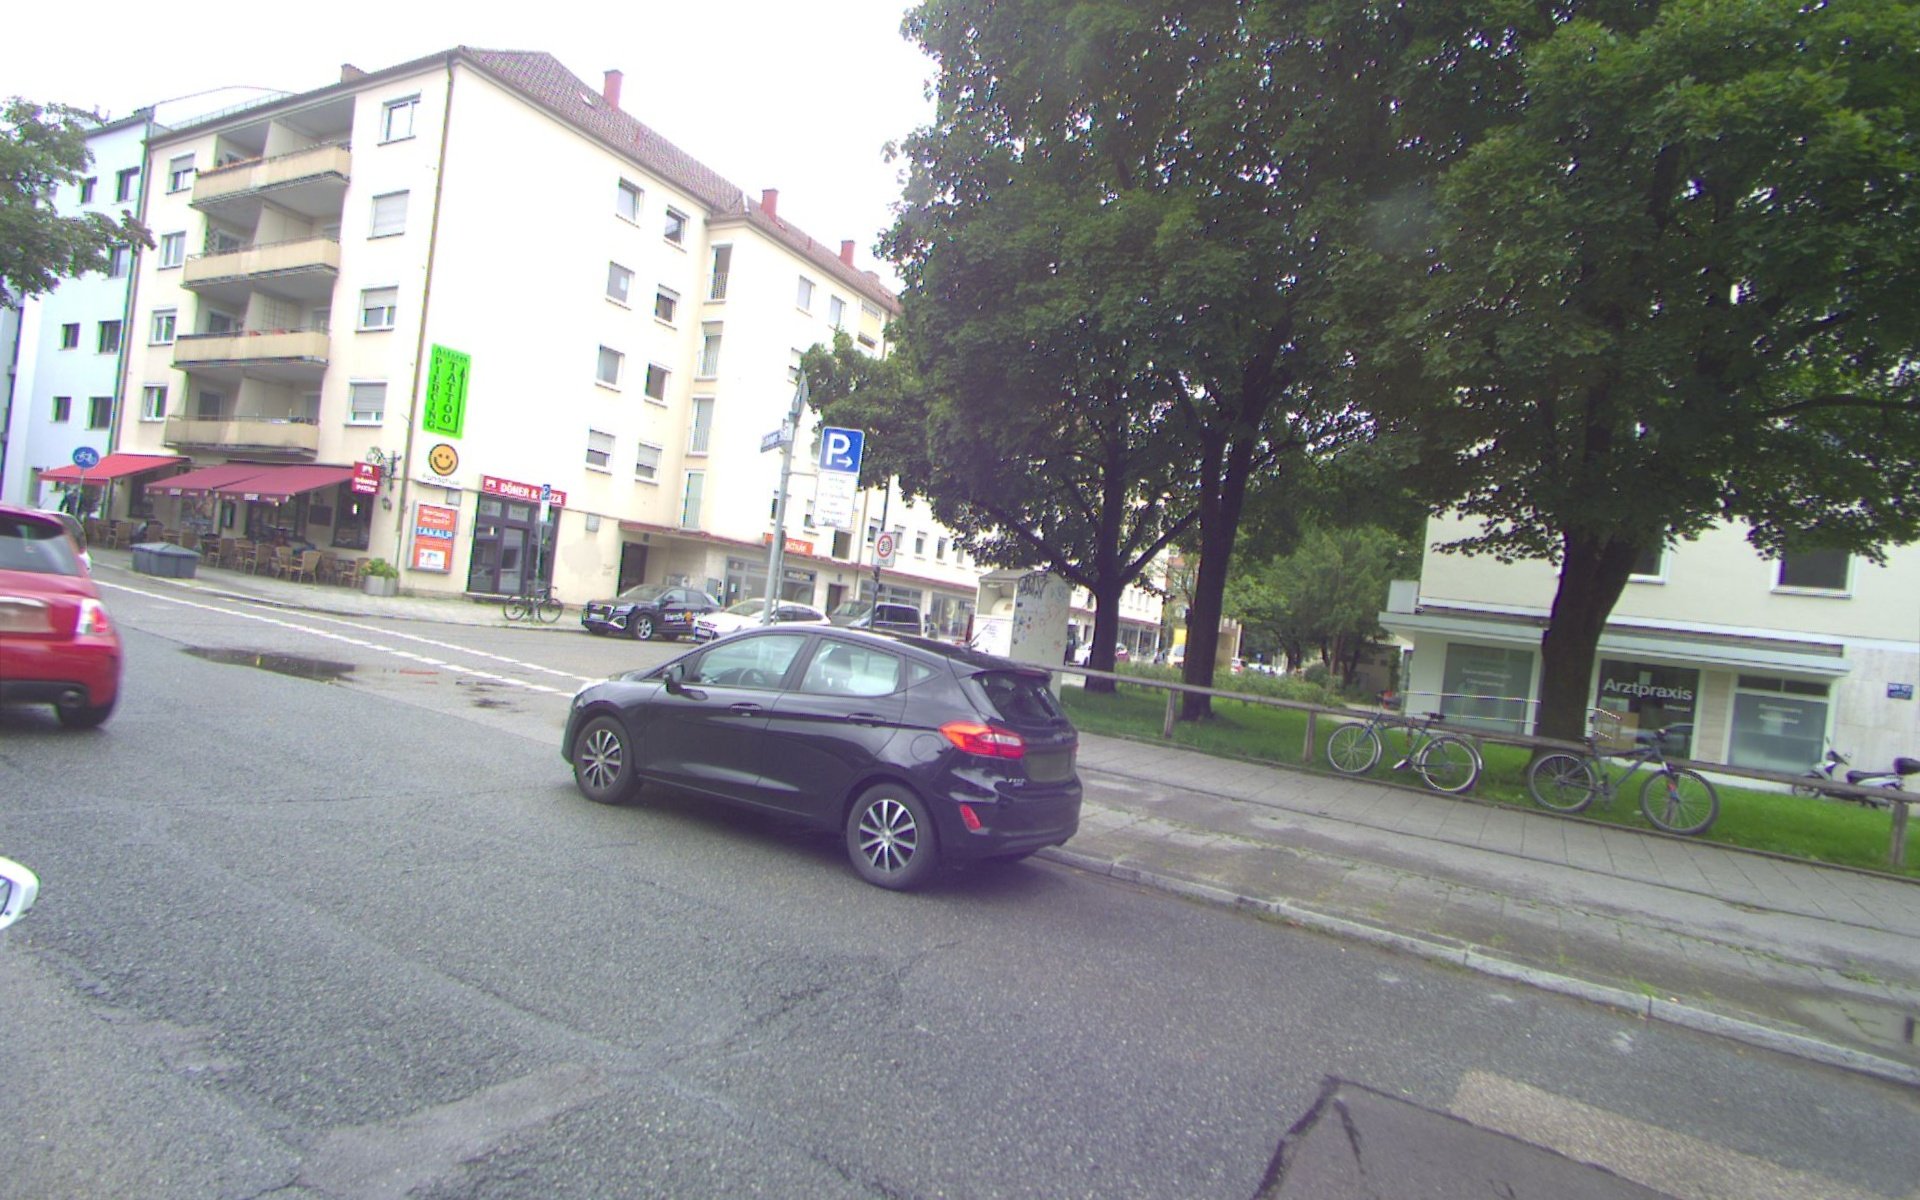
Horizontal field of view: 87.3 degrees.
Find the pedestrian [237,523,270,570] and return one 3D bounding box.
[{"bbox_3d":[-21.908,-1.646,31.185,0.543,1.355,0.539,7,0,30],"label":"pedestrian"}]

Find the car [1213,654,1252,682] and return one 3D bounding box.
[{"bbox_3d":[18.692,4.678,68.935,1.573,1.638,3.764,7,-1,30],"label":"car"}]

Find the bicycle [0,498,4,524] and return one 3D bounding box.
[{"bbox_3d":[-40.683,-3.803,41.944,2.159,1.061,0.621,7,3,31],"label":"bicycle"}]

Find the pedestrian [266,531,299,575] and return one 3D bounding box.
[{"bbox_3d":[-20.272,-1.406,30.096,0.479,1.229,0.539,7,0,31],"label":"pedestrian"}]

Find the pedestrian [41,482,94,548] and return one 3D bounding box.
[{"bbox_3d":[-29.034,-2.763,32.732,0.747,1.952,0.871,7,0,15],"label":"pedestrian"}]

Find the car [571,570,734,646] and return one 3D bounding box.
[{"bbox_3d":[-8.097,0.270,26.819,1.701,1.537,3.934,7,-1,29],"label":"car"}]

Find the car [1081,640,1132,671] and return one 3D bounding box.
[{"bbox_3d":[8.597,3.266,58.953,1.573,1.459,3.764,7,-1,29],"label":"car"}]

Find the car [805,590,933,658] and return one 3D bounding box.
[{"bbox_3d":[-3.177,0.931,36.379,1.966,1.907,4.994,7,-1,29],"label":"car"}]

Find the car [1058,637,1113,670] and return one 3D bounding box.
[{"bbox_3d":[6.906,2.953,55.157,1.573,1.459,3.764,7,-1,29],"label":"car"}]

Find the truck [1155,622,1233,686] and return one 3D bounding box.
[{"bbox_3d":[12.176,2.848,51.868,2.236,2.803,6.765,7,-1,26],"label":"truck"}]

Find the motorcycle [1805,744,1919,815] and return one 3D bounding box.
[{"bbox_3d":[18.582,3.671,20.732,1.595,1.133,0.605,7,0,32],"label":"motorcycle"}]

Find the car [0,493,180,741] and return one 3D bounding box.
[{"bbox_3d":[-7.670,-0.101,7.243,4.228,1.518,1.722,7,-1,31],"label":"car"}]

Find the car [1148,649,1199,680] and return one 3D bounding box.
[{"bbox_3d":[15.253,4.607,71.611,1.966,1.806,4.994,7,-1,29],"label":"car"}]

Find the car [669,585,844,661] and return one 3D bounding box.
[{"bbox_3d":[-5.225,0.638,26.316,1.968,1.459,4.213,7,-1,34],"label":"car"}]

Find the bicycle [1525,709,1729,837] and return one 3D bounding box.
[{"bbox_3d":[7.232,1.854,11.008,1.738,1.067,0.470,6,-1,31],"label":"bicycle"}]

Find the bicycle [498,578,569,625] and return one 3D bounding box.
[{"bbox_3d":[-10.970,0.048,25.929,0.545,1.023,1.541,7,-1,34],"label":"bicycle"}]

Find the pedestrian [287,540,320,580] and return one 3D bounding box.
[{"bbox_3d":[-19.002,-1.153,29.114,0.479,1.066,0.539,7,0,31],"label":"pedestrian"}]

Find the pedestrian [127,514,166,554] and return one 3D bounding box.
[{"bbox_3d":[-27.193,-2.203,33.618,0.636,1.177,0.745,7,0,31],"label":"pedestrian"}]

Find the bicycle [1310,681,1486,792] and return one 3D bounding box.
[{"bbox_3d":[5.331,1.639,12.299,1.822,1.027,0.448,7,0,32],"label":"bicycle"}]

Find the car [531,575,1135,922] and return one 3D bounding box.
[{"bbox_3d":[-0.983,0.846,7.078,3.890,1.494,1.647,7,-1,31],"label":"car"}]

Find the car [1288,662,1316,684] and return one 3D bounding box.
[{"bbox_3d":[30.951,6.612,91.048,1.573,1.638,3.764,7,-1,30],"label":"car"}]

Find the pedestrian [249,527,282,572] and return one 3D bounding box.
[{"bbox_3d":[-21.060,-1.523,30.504,0.478,1.283,0.539,7,0,30],"label":"pedestrian"}]

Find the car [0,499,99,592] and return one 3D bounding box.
[{"bbox_3d":[-17.945,-1.142,17.990,3.375,1.507,1.691,8,-1,-6],"label":"car"}]
